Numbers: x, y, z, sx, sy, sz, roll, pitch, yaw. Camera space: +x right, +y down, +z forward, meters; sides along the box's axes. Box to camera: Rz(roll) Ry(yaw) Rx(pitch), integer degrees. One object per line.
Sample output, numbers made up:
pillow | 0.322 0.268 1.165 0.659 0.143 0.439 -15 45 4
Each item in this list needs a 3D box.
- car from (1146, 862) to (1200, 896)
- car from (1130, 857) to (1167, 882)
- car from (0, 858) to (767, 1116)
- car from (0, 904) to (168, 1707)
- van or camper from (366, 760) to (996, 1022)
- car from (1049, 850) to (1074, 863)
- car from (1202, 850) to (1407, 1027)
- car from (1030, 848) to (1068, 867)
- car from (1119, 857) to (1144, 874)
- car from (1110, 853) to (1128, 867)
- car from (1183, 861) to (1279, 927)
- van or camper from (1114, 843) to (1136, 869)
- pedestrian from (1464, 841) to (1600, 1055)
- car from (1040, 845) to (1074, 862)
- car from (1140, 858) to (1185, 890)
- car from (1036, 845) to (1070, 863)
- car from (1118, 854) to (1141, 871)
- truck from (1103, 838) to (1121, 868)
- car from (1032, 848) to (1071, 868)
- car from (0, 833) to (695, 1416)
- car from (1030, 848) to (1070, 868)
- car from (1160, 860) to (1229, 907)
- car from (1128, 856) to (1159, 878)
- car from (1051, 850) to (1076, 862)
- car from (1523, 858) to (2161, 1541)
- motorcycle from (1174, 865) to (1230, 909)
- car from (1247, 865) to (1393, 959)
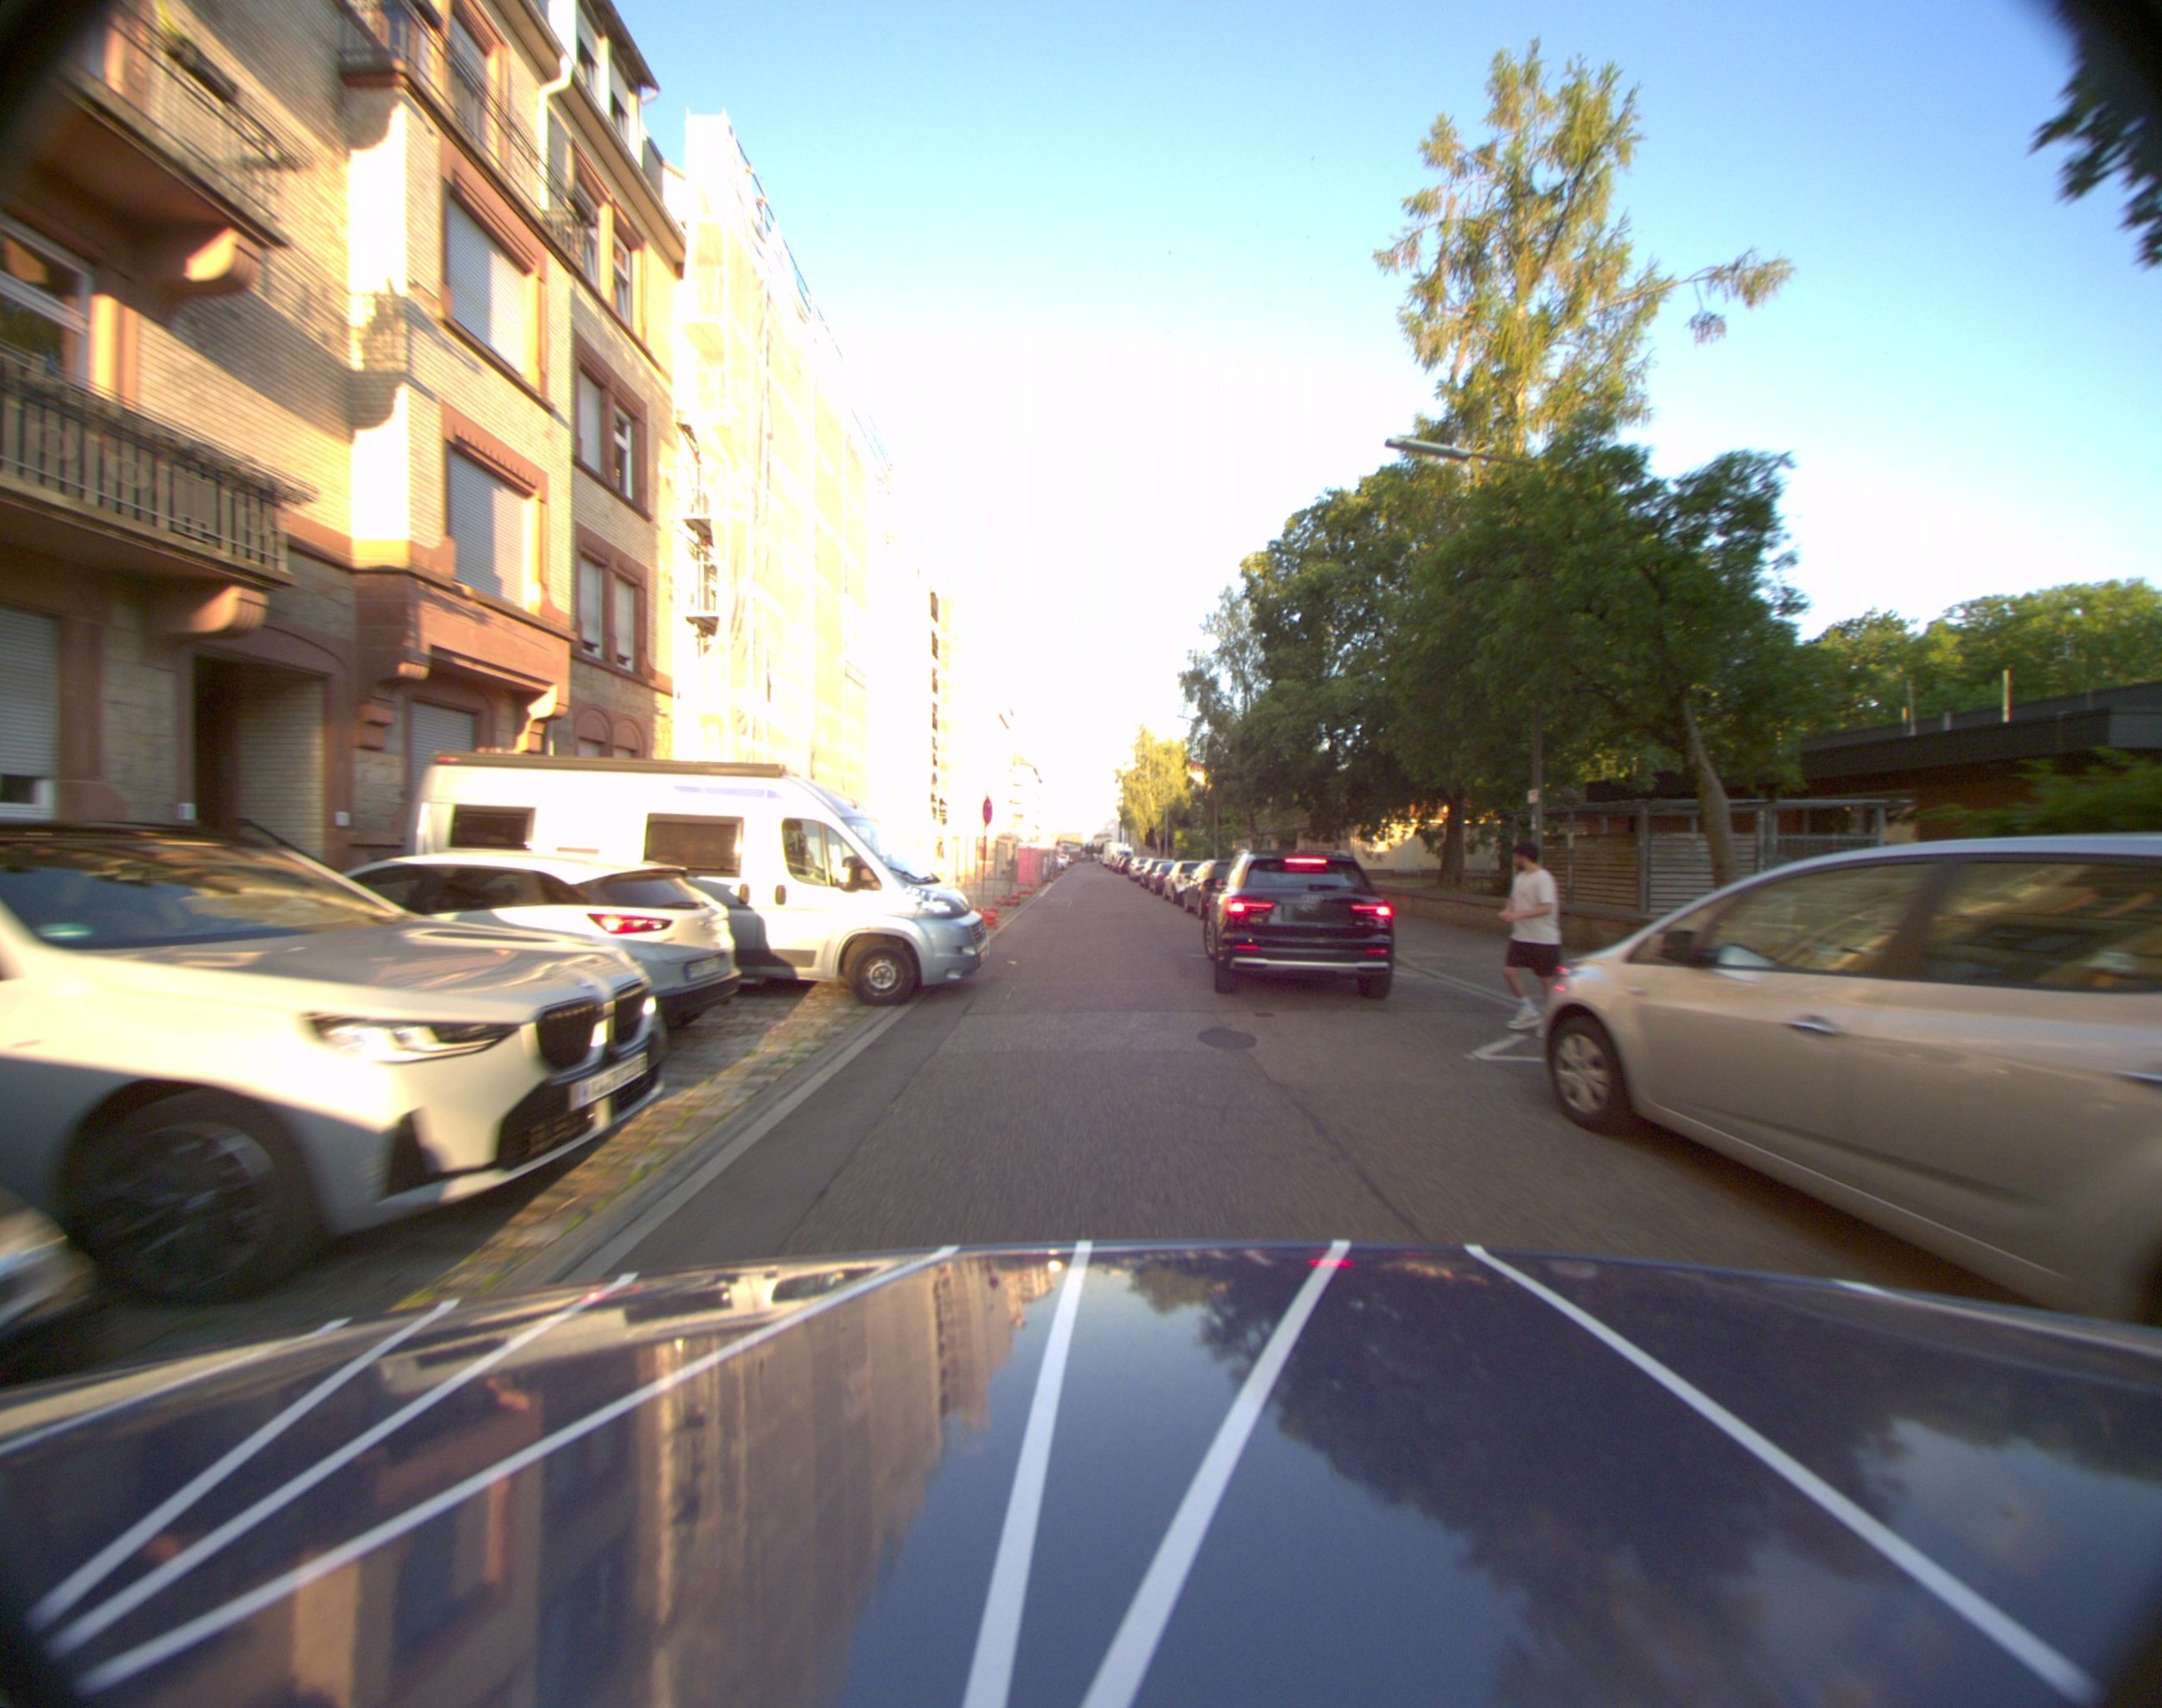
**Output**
car | 3.766 0.995 31.560 1.738 1.280 3.804 1 0 0
car | 3.949 0.858 45.107 1.738 1.358 4.291 1 0 0
car | -5.026 0.882 5.838 4.414 1.609 1.846 -1 1 2
car | -4.259 0.878 0.788 4.414 1.545 1.845 1 2 1
van or camper | -4.168 0.364 8.680 6.074 2.489 2.050 1 1 1
car | -3.225 0.353 123.814 3.997 2.002 2.000 -1 1 0
car | 2.431 0.794 9.249 1.737 1.622 4.128 1 0 7
car | -3.427 0.391 82.885 3.997 2.002 2.000 -1 1 0
car | 4.155 0.929 63.237 1.738 1.358 4.291 1 0 0
car | 4.195 0.649 83.912 1.738 1.502 4.291 1 0 0
car | 3.717 0.949 19.491 1.738 1.438 3.805 1 0 1
van or camper | 4.281 0.169 74.698 1.825 2.400 4.291 1 0 0
pedestrian | 3.790 0.756 6.425 0.748 1.693 0.558 -3 1 -3
car | -2.965 -0.064 94.538 3.997 2.002 2.000 -1 1 0
car | 3.865 0.922 36.555 1.738 1.358 3.804 1 0 0
car | -3.359 -0.025 91.203 3.997 2.002 2.000 -1 1 0
car | 4.376 0.763 69.351 1.738 1.502 4.291 1 0 0
truck | 4.080 -0.186 101.912 2.182 3.860 4.926 -1 1 1
car | -3.093 0.407 80.335 3.997 2.002 2.000 -1 1 0
car | -4.358 0.790 3.299 4.414 1.738 1.846 1 1 2
car | -3.156 0.427 78.116 3.997 2.002 2.000 -1 1 0
car | 3.798 0.946 25.919 1.738 1.417 3.804 1 0 0
car | 4.179 0.862 51.270 1.738 1.358 4.291 1 0 0
car | -2.837 0.325 126.145 3.997 2.002 2.000 -1 1 0
car | 3.501 0.857 2.563 1.738 1.622 3.980 1 0 1
motorcycle | 3.632 0.992 22.881 1.596 1.251 0.785 -1 1 3
car | 4.209 0.958 13.905 1.623 1.417 3.415 1 0 1
